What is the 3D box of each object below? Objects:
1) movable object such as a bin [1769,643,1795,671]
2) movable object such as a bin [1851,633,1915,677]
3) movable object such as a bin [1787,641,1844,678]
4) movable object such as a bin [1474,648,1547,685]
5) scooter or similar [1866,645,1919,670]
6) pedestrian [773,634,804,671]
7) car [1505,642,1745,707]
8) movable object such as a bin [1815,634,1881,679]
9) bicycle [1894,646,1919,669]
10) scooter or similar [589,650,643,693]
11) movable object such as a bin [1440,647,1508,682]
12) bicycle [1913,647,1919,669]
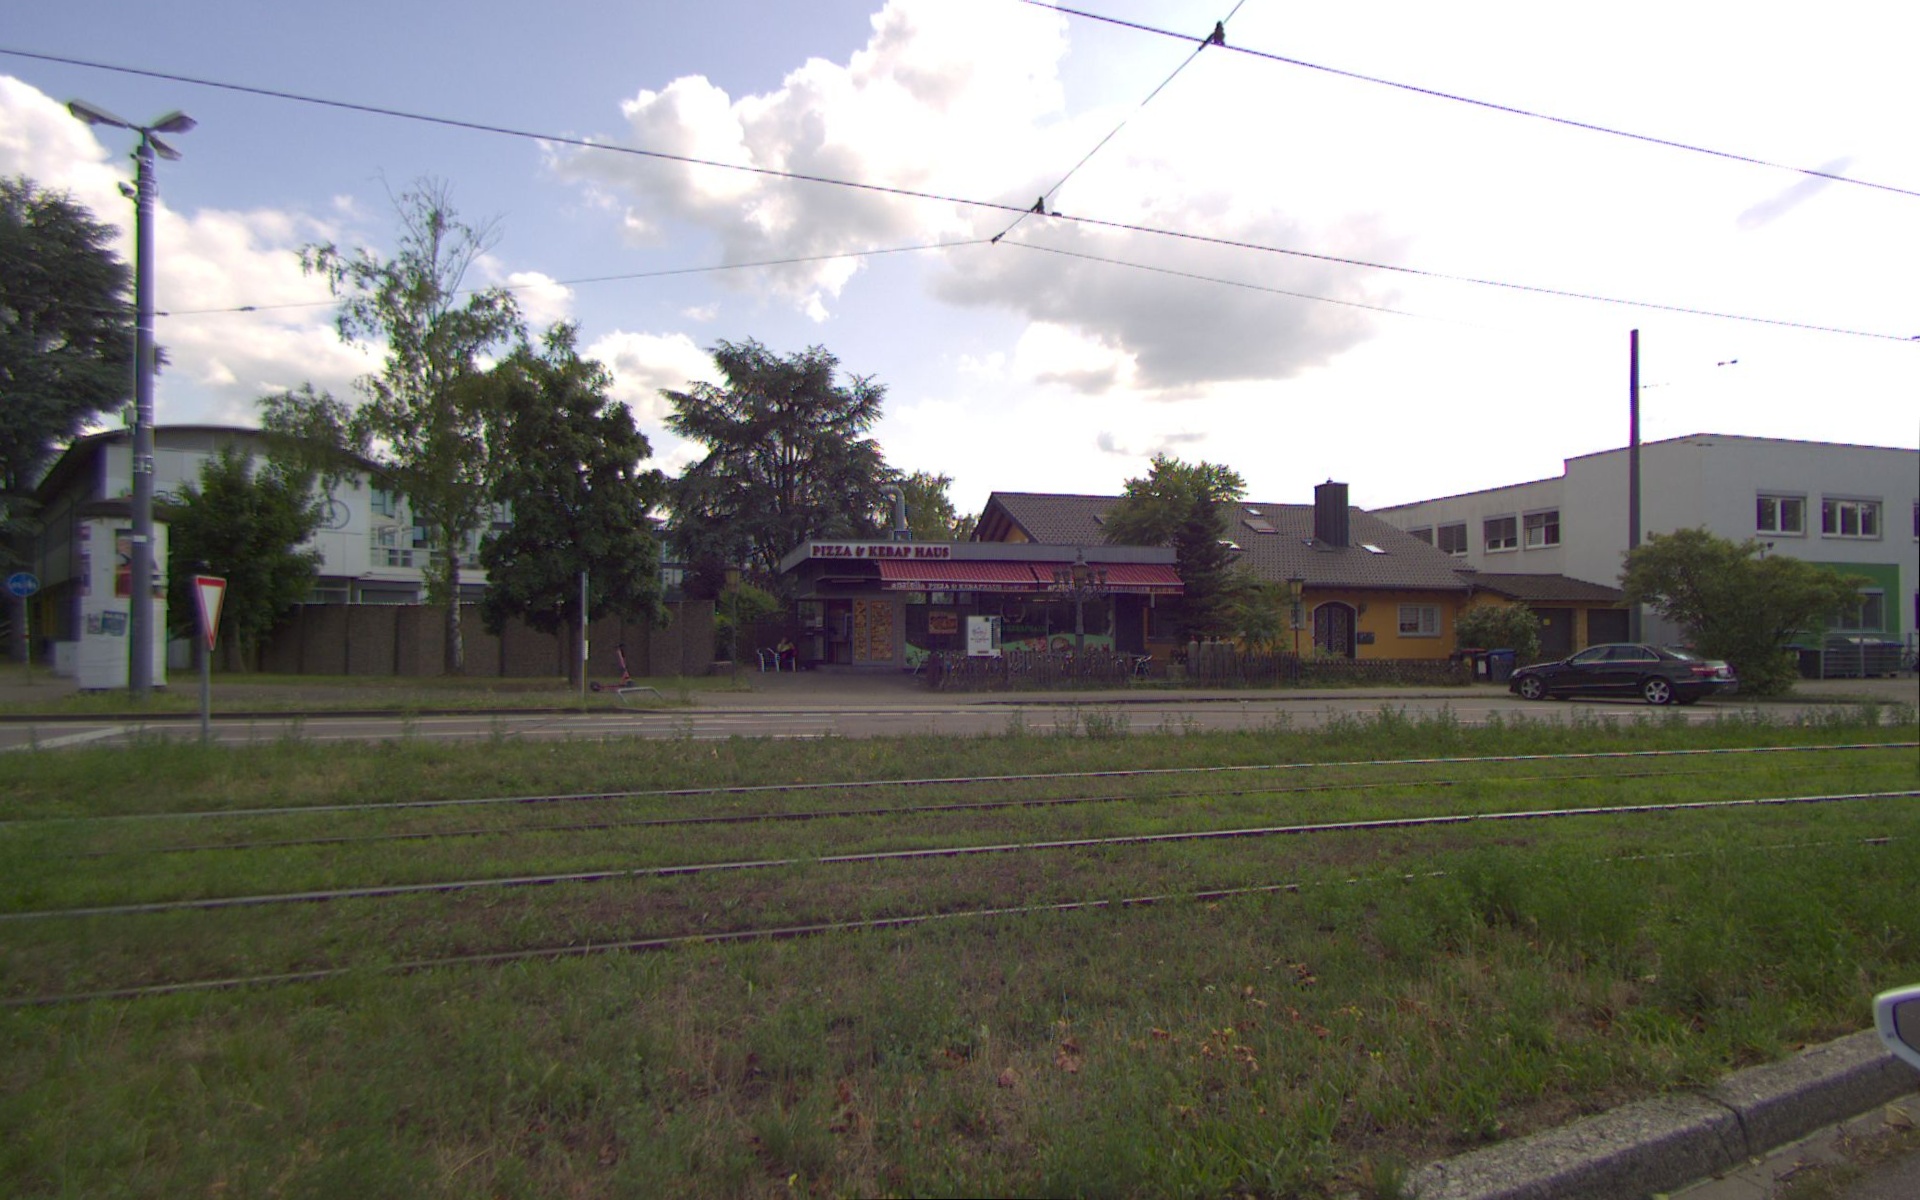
[{"bbox_3d":[32.330,2.250,39.513,0.555,1.056,0.568,0,0,-14],"label":"movable object such as a bin"},{"bbox_3d":[33.507,1.980,36.485,1.576,1.540,1.007,0,0,-13],"label":"movable object such as a bin"},{"bbox_3d":[30.419,2.098,35.731,1.234,1.250,1.007,0,0,-13],"label":"movable object such as a bin"},{"bbox_3d":[17.328,2.064,31.635,1.591,1.115,1.254,1,-2,-16],"label":"movable object such as a bin"},{"bbox_3d":[37.860,2.313,40.679,0.451,0.911,1.736,2,0,-14],"label":"scooter or similar"},{"bbox_3d":[-5.453,1.662,31.913,0.916,1.161,1.154,1,-2,-13],"label":"pedestrian"},{"bbox_3d":[16.277,1.782,24.834,1.864,1.425,4.607,3,-4,-34],"label":"car"},{"bbox_3d":[31.888,2.002,36.084,1.682,1.540,1.006,0,0,-13],"label":"movable object such as a bin"},{"bbox_3d":[39.337,2.378,40.954,0.451,0.911,1.858,2,0,-14],"label":"bicycle"},{"bbox_3d":[-8.634,1.796,25.247,1.199,1.047,0.427,0,-1,-5],"label":"scooter or similar"},{"bbox_3d":[16.891,2.117,33.034,1.591,1.107,1.254,1,-2,-16],"label":"movable object such as a bin"},{"bbox_3d":[40.416,2.411,41.277,0.451,0.911,1.858,2,0,-14],"label":"bicycle"}]
